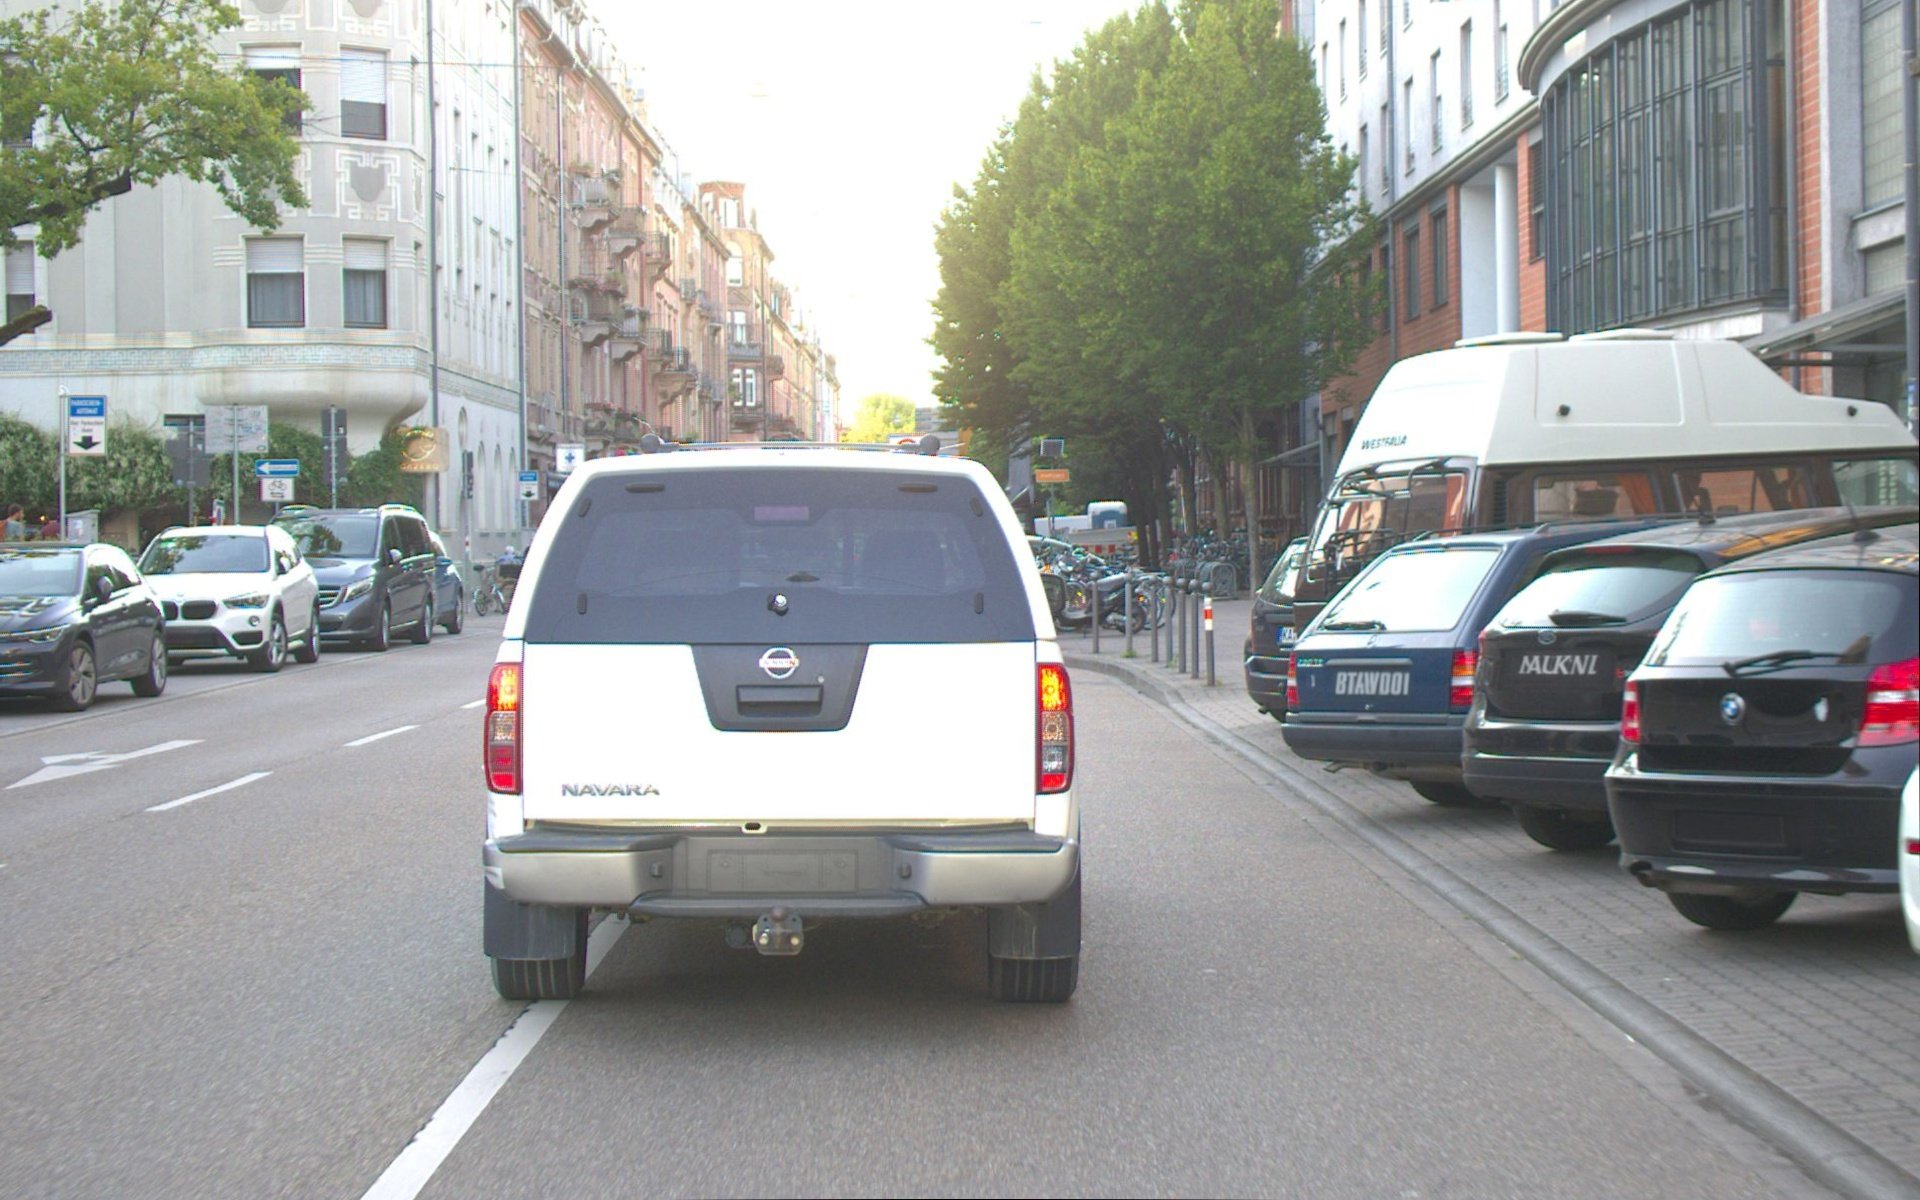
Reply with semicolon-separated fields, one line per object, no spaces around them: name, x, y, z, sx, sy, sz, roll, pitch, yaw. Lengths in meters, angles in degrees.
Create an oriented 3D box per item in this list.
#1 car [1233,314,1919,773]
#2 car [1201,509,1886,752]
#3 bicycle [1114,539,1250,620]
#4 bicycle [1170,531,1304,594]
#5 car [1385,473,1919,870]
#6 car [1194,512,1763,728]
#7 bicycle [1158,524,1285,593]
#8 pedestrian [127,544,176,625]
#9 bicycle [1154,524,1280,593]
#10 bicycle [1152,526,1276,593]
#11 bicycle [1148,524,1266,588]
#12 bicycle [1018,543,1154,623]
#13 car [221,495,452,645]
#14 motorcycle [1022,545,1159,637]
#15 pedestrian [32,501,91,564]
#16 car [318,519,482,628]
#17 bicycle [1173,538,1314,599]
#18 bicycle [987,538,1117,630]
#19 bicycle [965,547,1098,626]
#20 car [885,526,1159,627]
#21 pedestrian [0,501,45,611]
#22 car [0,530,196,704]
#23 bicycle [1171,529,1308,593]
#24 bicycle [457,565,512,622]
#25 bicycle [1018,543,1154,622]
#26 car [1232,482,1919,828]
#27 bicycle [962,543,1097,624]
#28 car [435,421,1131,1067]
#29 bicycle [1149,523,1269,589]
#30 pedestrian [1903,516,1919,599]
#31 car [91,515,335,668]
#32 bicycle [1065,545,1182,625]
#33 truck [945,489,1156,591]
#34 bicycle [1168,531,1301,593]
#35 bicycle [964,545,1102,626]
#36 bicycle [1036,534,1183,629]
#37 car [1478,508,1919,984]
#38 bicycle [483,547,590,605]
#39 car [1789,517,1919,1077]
car;4.184;-0.356;21.009;4.710;2.538;1.918;-1;0;-29
car;4.013;0.154;23.542;4.342;1.497;1.913;-1;1;-28
bicycle;3.174;-0.296;49.197;1.857;1.062;0.524;-3;1;-1
bicycle;5.311;-0.723;66.067;2.534;1.162;0.562;-1;1;3
car;4.150;0.248;15.364;4.108;1.540;1.795;-2;-1;-28
car;3.933;0.104;25.923;4.056;1.487;1.724;-1;1;-31
bicycle;5.288;-0.842;69.682;2.534;1.375;0.599;-1;1;3
pedestrian;-14.845;-0.294;63.111;0.701;1.464;0.784;-1;1;-1
bicycle;5.260;-0.854;70.396;2.534;1.375;0.599;-1;1;3
bicycle;5.293;-0.848;71.765;2.534;1.375;0.599;-1;1;3
bicycle;5.412;-0.965;75.359;2.534;1.375;0.599;-1;1;3
bicycle;1.775;-0.239;48.459;1.857;1.035;0.402;-3;1;-1
car;-8.201;-0.434;45.727;1.993;1.860;5.289;0;1;1
motorcycle;1.703;-0.125;44.933;1.644;1.098;0.647;-3;1;-8
pedestrian;-14.168;-1.065;54.235;0.706;0.977;0.837;-1;1;-2
car;-8.235;-0.420;50.859;1.640;1.550;4.004;0;1;2
bicycle;5.279;-0.589;64.175;2.534;0.956;0.680;-4;1;3
bicycle;1.247;-0.218;46.745;1.707;1.172;0.472;-3;1;-1
bicycle;1.026;-0.199;49.641;1.857;1.062;0.446;-3;1;-1
car;0.993;-0.395;54.561;3.987;1.501;1.770;-1;1;-29
pedestrian;-14.897;-0.694;54.218;0.706;1.715;0.837;-1;1;-2
car;-8.227;0.107;30.602;1.783;1.430;4.316;-1;1;1
bicycle;5.257;-0.731;64.794;2.534;1.162;0.562;-1;1;3
bicycle;-9.066;-0.131;65.578;0.423;1.009;1.717;0;2;14
bicycle;1.842;-0.258;50.331;1.911;1.062;0.524;-3;1;-1
car;3.796;0.203;18.092;4.384;1.481;1.844;-4;2;-30
bicycle;0.979;-0.239;48.890;1.857;1.062;0.446;-3;1;-1
car;-0.529;0.375;12.021;1.933;1.788;4.622;1;1;-1
bicycle;5.301;-0.932;73.253;2.534;1.375;0.599;-1;1;3
pedestrian;7.417;-0.936;24.801;0.607;2.006;0.858;12;2;2
car;-8.312;-0.133;38.609;1.871;1.586;4.469;-1;1;-2
bicycle;2.245;-0.211;47.289;1.539;1.035;0.472;-3;1;-1
truck;2.742;-1.810;104.097;6.320;2.966;2.264;0;-2;2
bicycle;5.324;-0.739;66.678;2.534;1.162;0.562;-1;1;3
bicycle;1.018;-0.200;47.841;1.857;1.035;0.472;-3;1;-1
bicycle;1.993;-0.250;46.019;1.859;1.142;0.659;-4;1;0
car;4.042;0.358;12.429;4.022;1.427;1.868;-4;1;-34
bicycle;-8.211;-0.464;66.662;2.113;1.091;0.500;1;2;25
car;4.480;0.418;9.952;4.045;1.493;1.754;-4;1;-35
